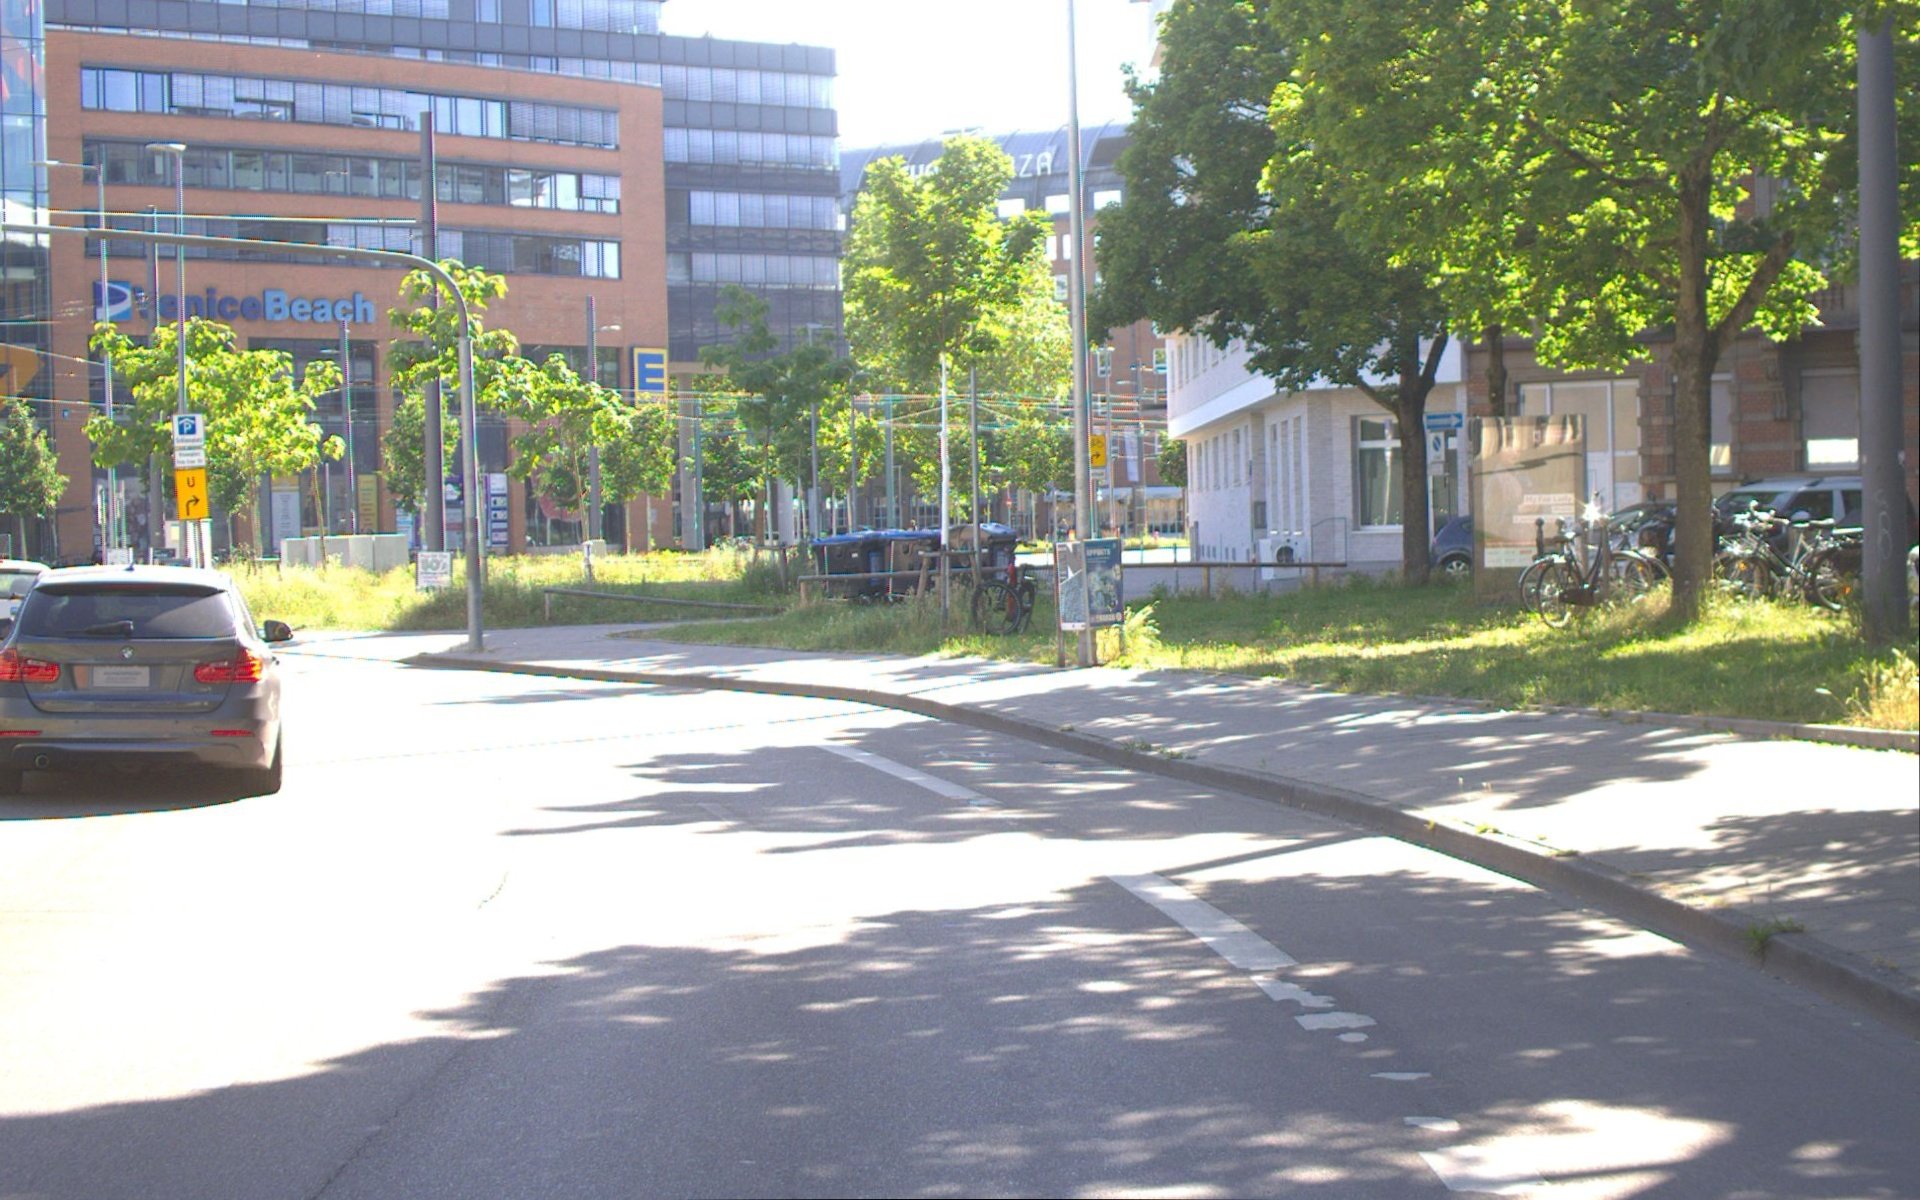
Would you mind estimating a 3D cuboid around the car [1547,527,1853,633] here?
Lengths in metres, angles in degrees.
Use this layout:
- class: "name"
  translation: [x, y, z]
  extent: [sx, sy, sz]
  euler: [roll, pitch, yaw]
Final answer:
- class: "car"
  translation: [10.327, -0.293, 48.014]
  extent: [3.830, 1.436, 1.760]
  euler: [0, 1, -20]

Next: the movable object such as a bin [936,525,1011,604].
- class: "movable object such as a bin"
  translation: [0.250, -0.644, 61.381]
  extent: [1.030, 1.393, 1.089]
  euler: [0, 1, 20]

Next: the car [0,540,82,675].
- class: "car"
  translation: [-11.014, 0.065, 38.546]
  extent: [1.631, 1.418, 3.783]
  euler: [3, -1, -23]

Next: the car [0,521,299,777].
- class: "car"
  translation: [-5.266, 0.306, 22.049]
  extent: [1.733, 1.418, 4.468]
  euler: [3, -1, -8]

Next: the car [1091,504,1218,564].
- class: "car"
  translation: [6.666, -2.260, 117.395]
  extent: [3.990, 2.007, 1.999]
  euler: [0, 0, 16]

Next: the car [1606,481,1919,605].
- class: "car"
  translation: [10.831, -0.744, 45.110]
  extent: [4.456, 1.560, 1.938]
  euler: [0, 1, -31]

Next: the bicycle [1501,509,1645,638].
- class: "bicycle"
  translation: [6.346, -0.286, 35.549]
  extent: [0.769, 1.285, 1.594]
  euler: [0, 1, 40]

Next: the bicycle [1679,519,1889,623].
- class: "bicycle"
  translation: [9.298, -0.326, 38.836]
  extent: [2.162, 1.154, 0.822]
  euler: [0, 0, -4]

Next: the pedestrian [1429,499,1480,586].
- class: "pedestrian"
  translation: [9.075, -1.051, 63.092]
  extent: [0.642, 1.571, 0.770]
  euler: [0, 0, 38]

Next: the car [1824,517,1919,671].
- class: "car"
  translation: [10.482, -0.066, 32.053]
  extent: [4.737, 1.375, 2.046]
  euler: [0, 1, -33]

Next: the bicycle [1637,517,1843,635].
- class: "bicycle"
  translation: [8.223, -0.253, 36.321]
  extent: [1.957, 1.188, 0.841]
  euler: [-1, 1, 0]

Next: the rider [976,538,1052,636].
- class: "rider"
  translation: [0.680, -0.176, 42.812]
  extent: [0.502, 1.172, 1.675]
  euler: [0, 2, 17]

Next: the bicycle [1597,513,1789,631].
- class: "bicycle"
  translation: [8.750, -0.332, 41.040]
  extent: [2.092, 1.393, 0.787]
  euler: [0, 0, -11]

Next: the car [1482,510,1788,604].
- class: "car"
  translation: [9.853, -0.628, 50.211]
  extent: [4.042, 1.332, 1.840]
  euler: [0, 1, -23]

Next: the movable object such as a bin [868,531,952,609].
- class: "movable object such as a bin"
  translation: [-0.893, -0.546, 61.599]
  extent: [1.108, 1.393, 1.320]
  euler: [0, 1, 20]

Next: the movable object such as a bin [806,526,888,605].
- class: "movable object such as a bin"
  translation: [-2.021, -0.626, 61.681]
  extent: [1.069, 1.393, 1.302]
  euler: [0, 1, 20]

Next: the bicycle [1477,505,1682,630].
- class: "bicycle"
  translation: [6.838, -0.361, 38.015]
  extent: [2.093, 1.360, 0.787]
  euler: [0, 0, -5]

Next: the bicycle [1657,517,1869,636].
- class: "bicycle"
  translation: [8.253, -0.243, 35.397]
  extent: [1.944, 1.176, 0.900]
  euler: [-1, 0, 0]
